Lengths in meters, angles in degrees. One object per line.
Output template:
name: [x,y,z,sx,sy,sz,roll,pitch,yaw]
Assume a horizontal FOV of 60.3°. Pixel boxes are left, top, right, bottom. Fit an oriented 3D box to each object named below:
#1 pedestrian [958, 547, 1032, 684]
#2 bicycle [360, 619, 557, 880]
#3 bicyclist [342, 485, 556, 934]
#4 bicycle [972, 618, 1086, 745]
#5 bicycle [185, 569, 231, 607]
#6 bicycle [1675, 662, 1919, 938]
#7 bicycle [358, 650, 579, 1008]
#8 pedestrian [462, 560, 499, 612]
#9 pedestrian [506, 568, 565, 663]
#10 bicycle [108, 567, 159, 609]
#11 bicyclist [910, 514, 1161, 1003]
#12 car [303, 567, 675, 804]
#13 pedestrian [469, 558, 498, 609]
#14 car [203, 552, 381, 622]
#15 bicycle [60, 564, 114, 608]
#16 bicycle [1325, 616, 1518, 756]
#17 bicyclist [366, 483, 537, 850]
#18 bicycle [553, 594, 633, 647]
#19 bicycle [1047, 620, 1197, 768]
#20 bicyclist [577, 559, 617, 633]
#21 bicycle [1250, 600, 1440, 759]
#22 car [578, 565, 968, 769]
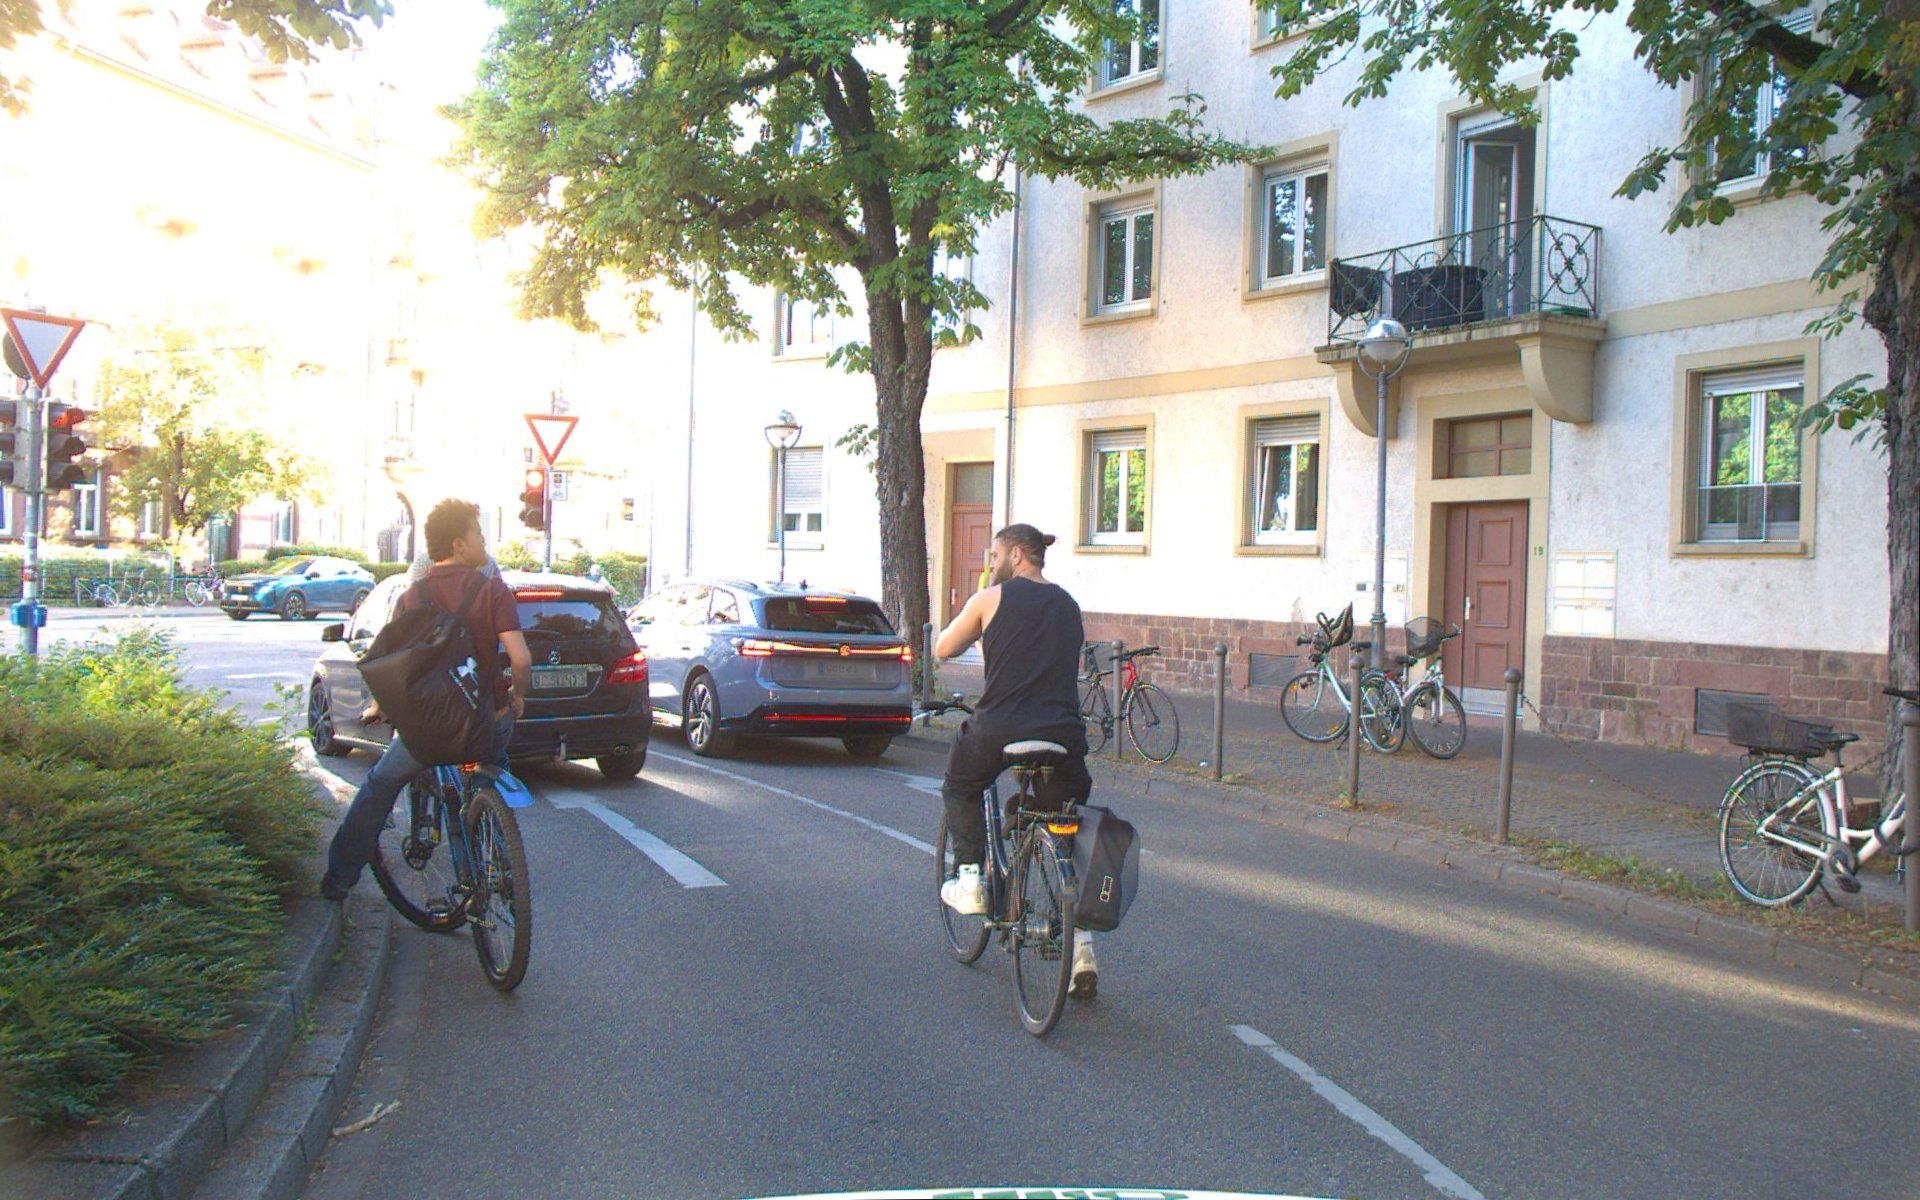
pedestrian: [0.457,0.180,21.800,0.635,1.757,0.880,-1,2,-27]
bicycle: [-2.858,0.753,9.254,0.799,1.205,2.211,2,1,-23]
bicyclist: [-1.994,0.392,6.459,0.696,1.601,0.952,2,0,-18]
bicycle: [0.649,0.760,16.009,0.474,1.082,1.625,-1,2,-22]
bicycle: [-21.451,-0.329,47.188,0.433,1.056,1.233,3,1,21]
bicycle: [4.243,0.897,7.658,0.505,1.114,1.962,0,1,-20]
bicycle: [-2.026,0.819,6.685,0.706,1.126,1.956,2,0,-19]
pedestrian: [-16.311,-0.471,56.273,0.698,1.693,0.895,5,2,33]
pedestrian: [-7.791,0.283,30.322,0.889,1.663,0.721,3,1,-21]
bicycle: [-22.353,-0.322,44.741,0.433,1.126,1.233,3,1,22]
bicyclist: [0.256,0.539,6.259,0.675,1.685,0.985,0,1,-15]
car: [-3.858,0.530,13.131,1.774,1.569,3.814,-1,1,-34]
pedestrian: [-16.528,-0.577,57.395,0.649,1.745,0.635,2,0,29]
car: [-17.224,-0.323,42.905,1.901,1.678,4.413,2,0,17]
bicycle: [-22.908,-0.364,43.429,0.433,1.126,1.233,3,1,22]
bicycle: [4.127,0.740,14.962,0.657,1.126,1.956,2,0,-19]
bicyclist: [-2.893,0.355,9.367,0.783,1.946,0.938,2,0,-23]
bicycle: [-8.138,0.445,36.753,0.524,1.126,1.962,2,0,30]
bicycle: [1.384,0.784,14.431,0.519,1.126,1.728,-1,2,-24]
bicyclist: [-8.073,-0.088,36.827,0.519,1.626,0.673,2,0,30]
bicycle: [3.430,0.669,14.935,0.707,1.299,1.955,0,1,-21]
car: [-1.941,0.552,15.760,1.951,1.613,4.427,4,-1,-32]
